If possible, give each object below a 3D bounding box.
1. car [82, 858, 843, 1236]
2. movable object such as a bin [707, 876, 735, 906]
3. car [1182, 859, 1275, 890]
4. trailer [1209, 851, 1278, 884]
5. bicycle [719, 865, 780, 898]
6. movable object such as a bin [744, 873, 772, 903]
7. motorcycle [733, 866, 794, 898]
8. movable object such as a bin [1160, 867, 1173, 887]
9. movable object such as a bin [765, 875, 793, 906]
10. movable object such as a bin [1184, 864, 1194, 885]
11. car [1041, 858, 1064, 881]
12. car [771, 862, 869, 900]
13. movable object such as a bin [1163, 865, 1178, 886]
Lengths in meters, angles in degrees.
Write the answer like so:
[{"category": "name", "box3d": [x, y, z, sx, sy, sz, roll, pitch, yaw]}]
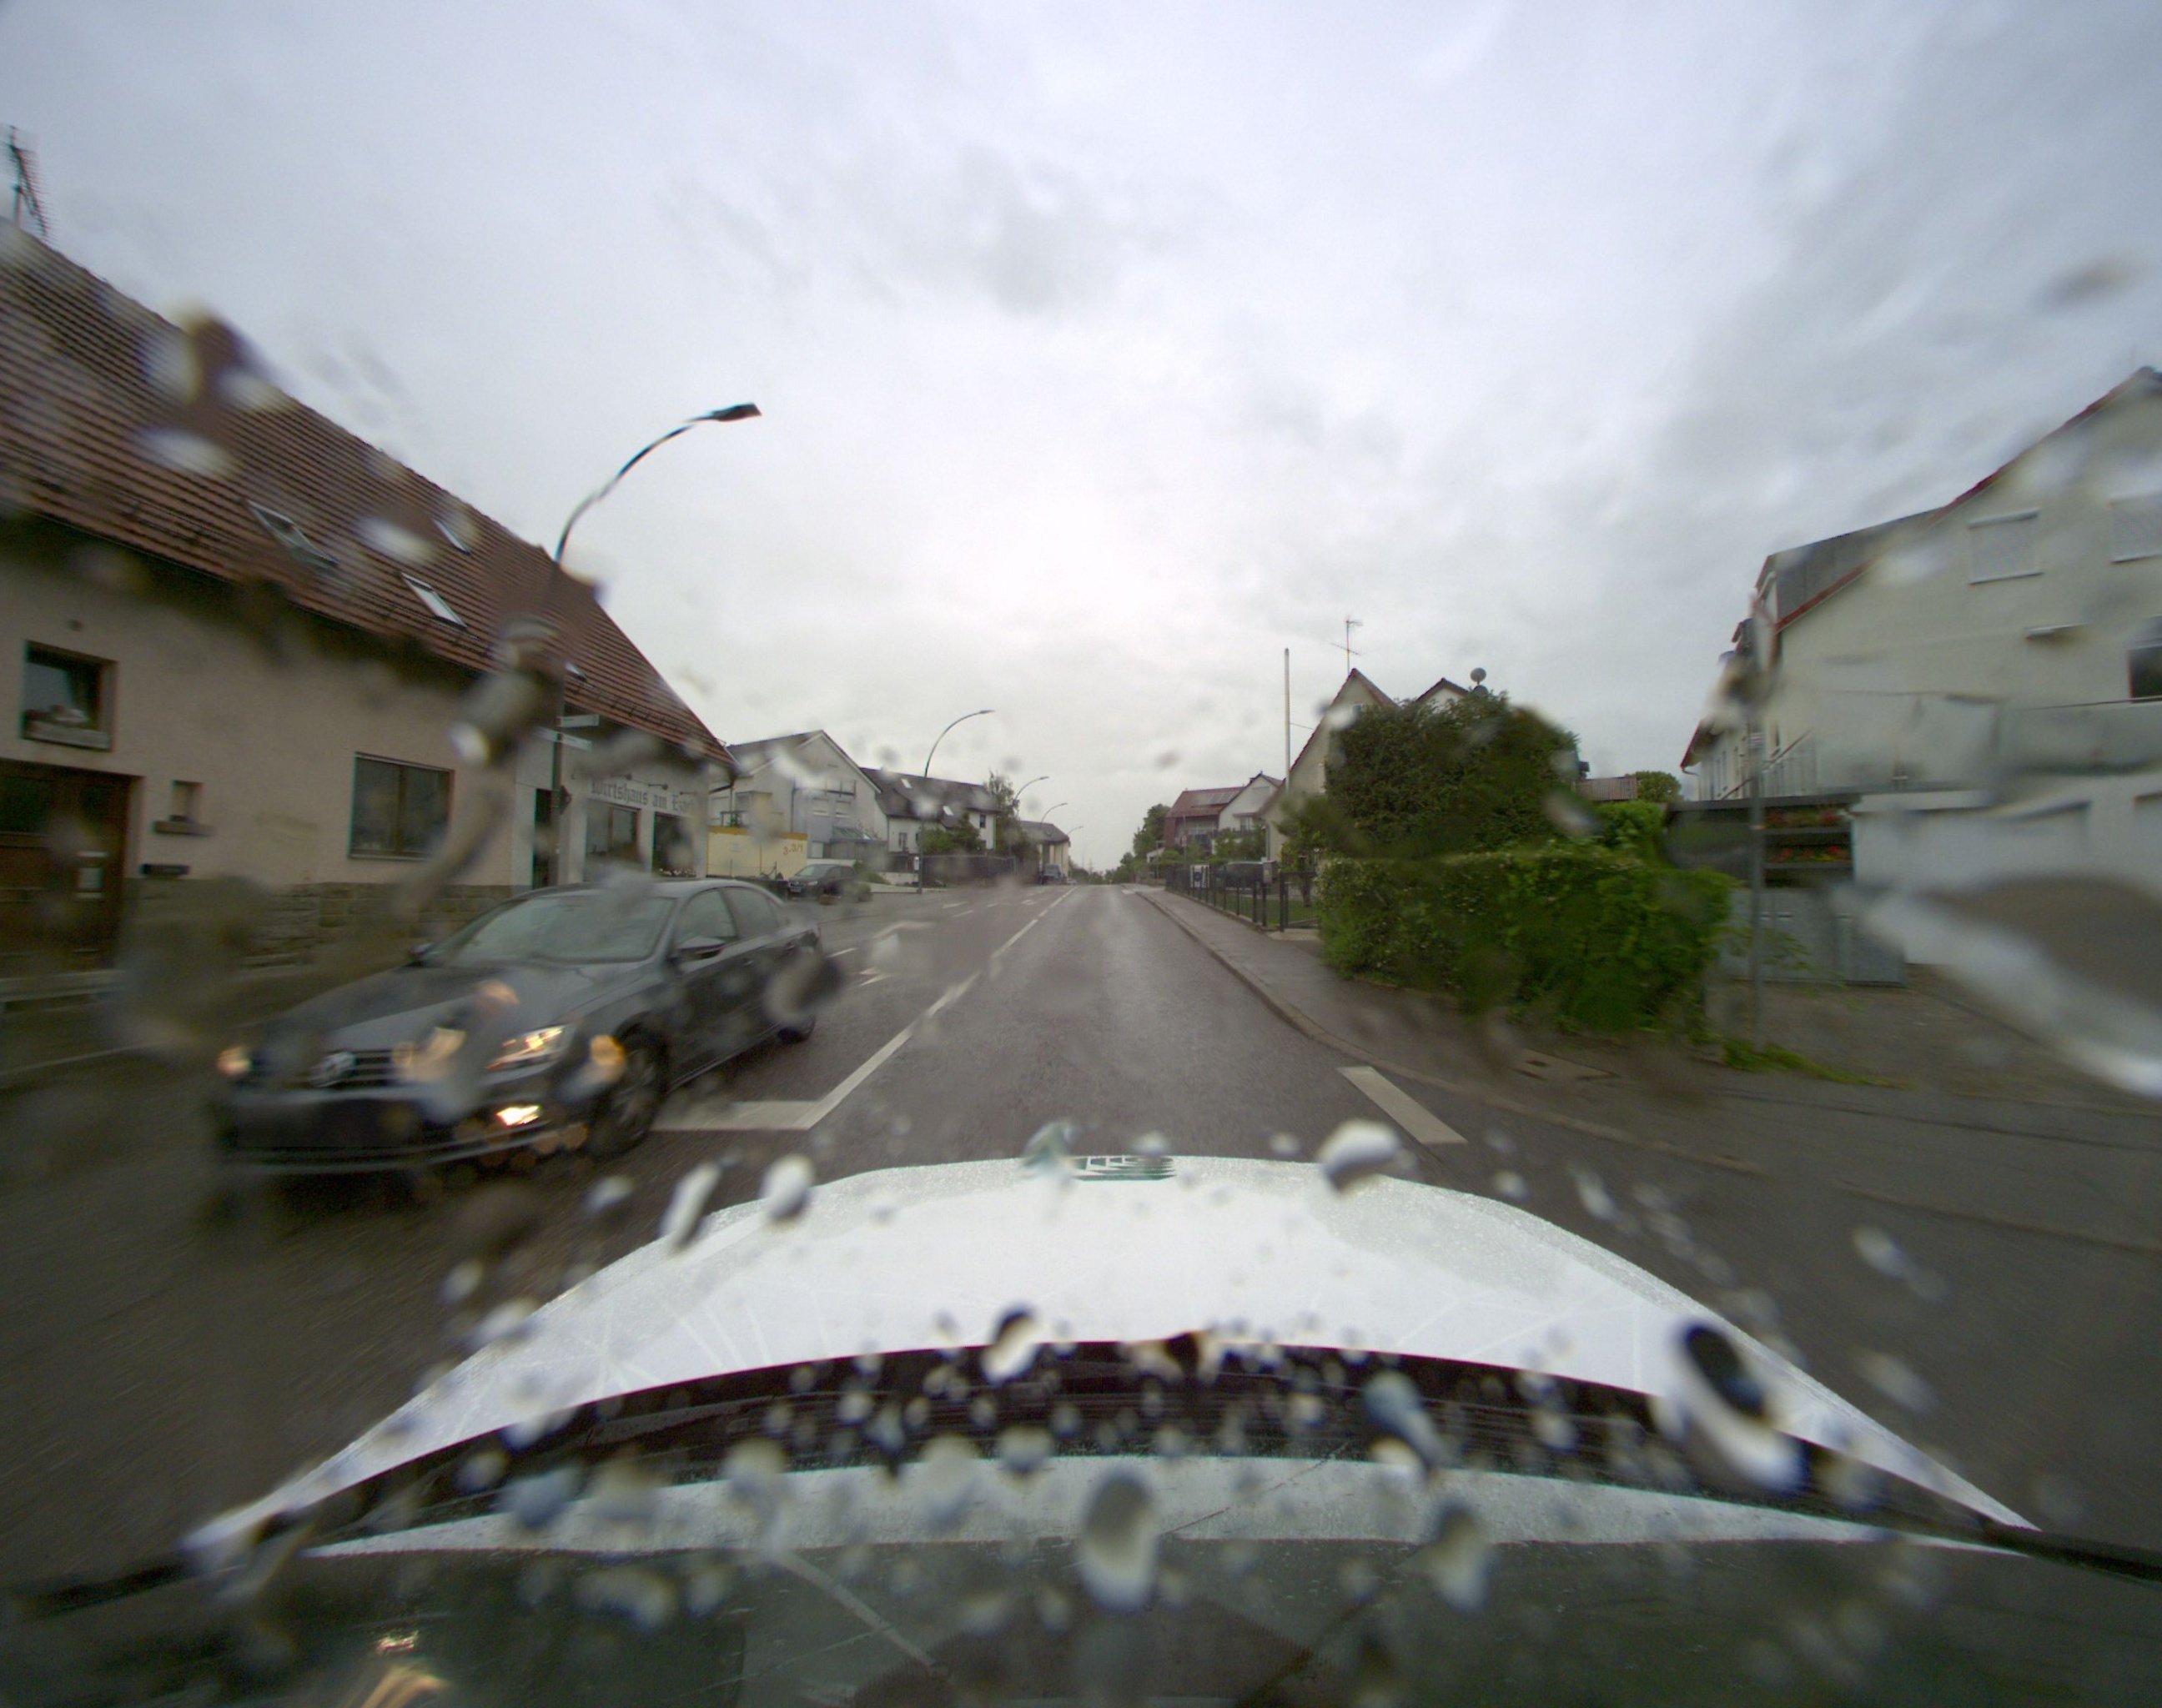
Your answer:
[{"category": "car", "box3d": [-3.306, 0.847, 5.642, 1.937, 1.574, 4.227, -1, 0, 1]}, {"category": "movable object such as a bin", "box3d": [-12.716, 1.298, 28.761, 0.633, 1.032, 0.607, -2, -1, 15]}, {"category": "car", "box3d": [7.857, 1.071, 43.222, 4.520, 1.384, 2.010, -3, 0, 19]}, {"category": "trailer", "box3d": [9.244, 0.795, 46.401, 3.418, 1.799, 1.698, 0, -3, 39]}, {"category": "bicycle", "box3d": [-12.551, 1.043, 30.823, 2.081, 1.114, 0.740, 2, -2, 18]}, {"category": "movable object such as a bin", "box3d": [-11.247, 1.179, 28.354, 0.633, 1.032, 0.607, -2, -1, 15]}, {"category": "motorcycle", "box3d": [-12.285, 1.072, 31.546, 2.093, 1.114, 0.783, 3, -1, 18]}, {"category": "movable object such as a bin", "box3d": [4.455, 1.193, 42.266, 0.624, 1.021, 0.541, -2, -1, 6]}, {"category": "movable object such as a bin", "box3d": [-10.462, 1.265, 28.224, 0.633, 1.032, 0.676, -2, -1, 15]}, {"category": "movable object such as a bin", "box3d": [5.388, 1.036, 40.536, 0.440, 1.021, 0.526, -2, -1, 12]}, {"category": "car", "box3d": [-3.396, 1.948, 98.433, 2.085, 2.649, 5.924, 1, -2, 4]}, {"category": "car", "box3d": [-10.745, 1.065, 33.805, 1.885, 1.442, 3.847, 1, 0, 20]}, {"category": "movable object such as a bin", "box3d": [4.469, 1.059, 40.595, 0.525, 1.021, 0.737, -2, -1, 20]}]
